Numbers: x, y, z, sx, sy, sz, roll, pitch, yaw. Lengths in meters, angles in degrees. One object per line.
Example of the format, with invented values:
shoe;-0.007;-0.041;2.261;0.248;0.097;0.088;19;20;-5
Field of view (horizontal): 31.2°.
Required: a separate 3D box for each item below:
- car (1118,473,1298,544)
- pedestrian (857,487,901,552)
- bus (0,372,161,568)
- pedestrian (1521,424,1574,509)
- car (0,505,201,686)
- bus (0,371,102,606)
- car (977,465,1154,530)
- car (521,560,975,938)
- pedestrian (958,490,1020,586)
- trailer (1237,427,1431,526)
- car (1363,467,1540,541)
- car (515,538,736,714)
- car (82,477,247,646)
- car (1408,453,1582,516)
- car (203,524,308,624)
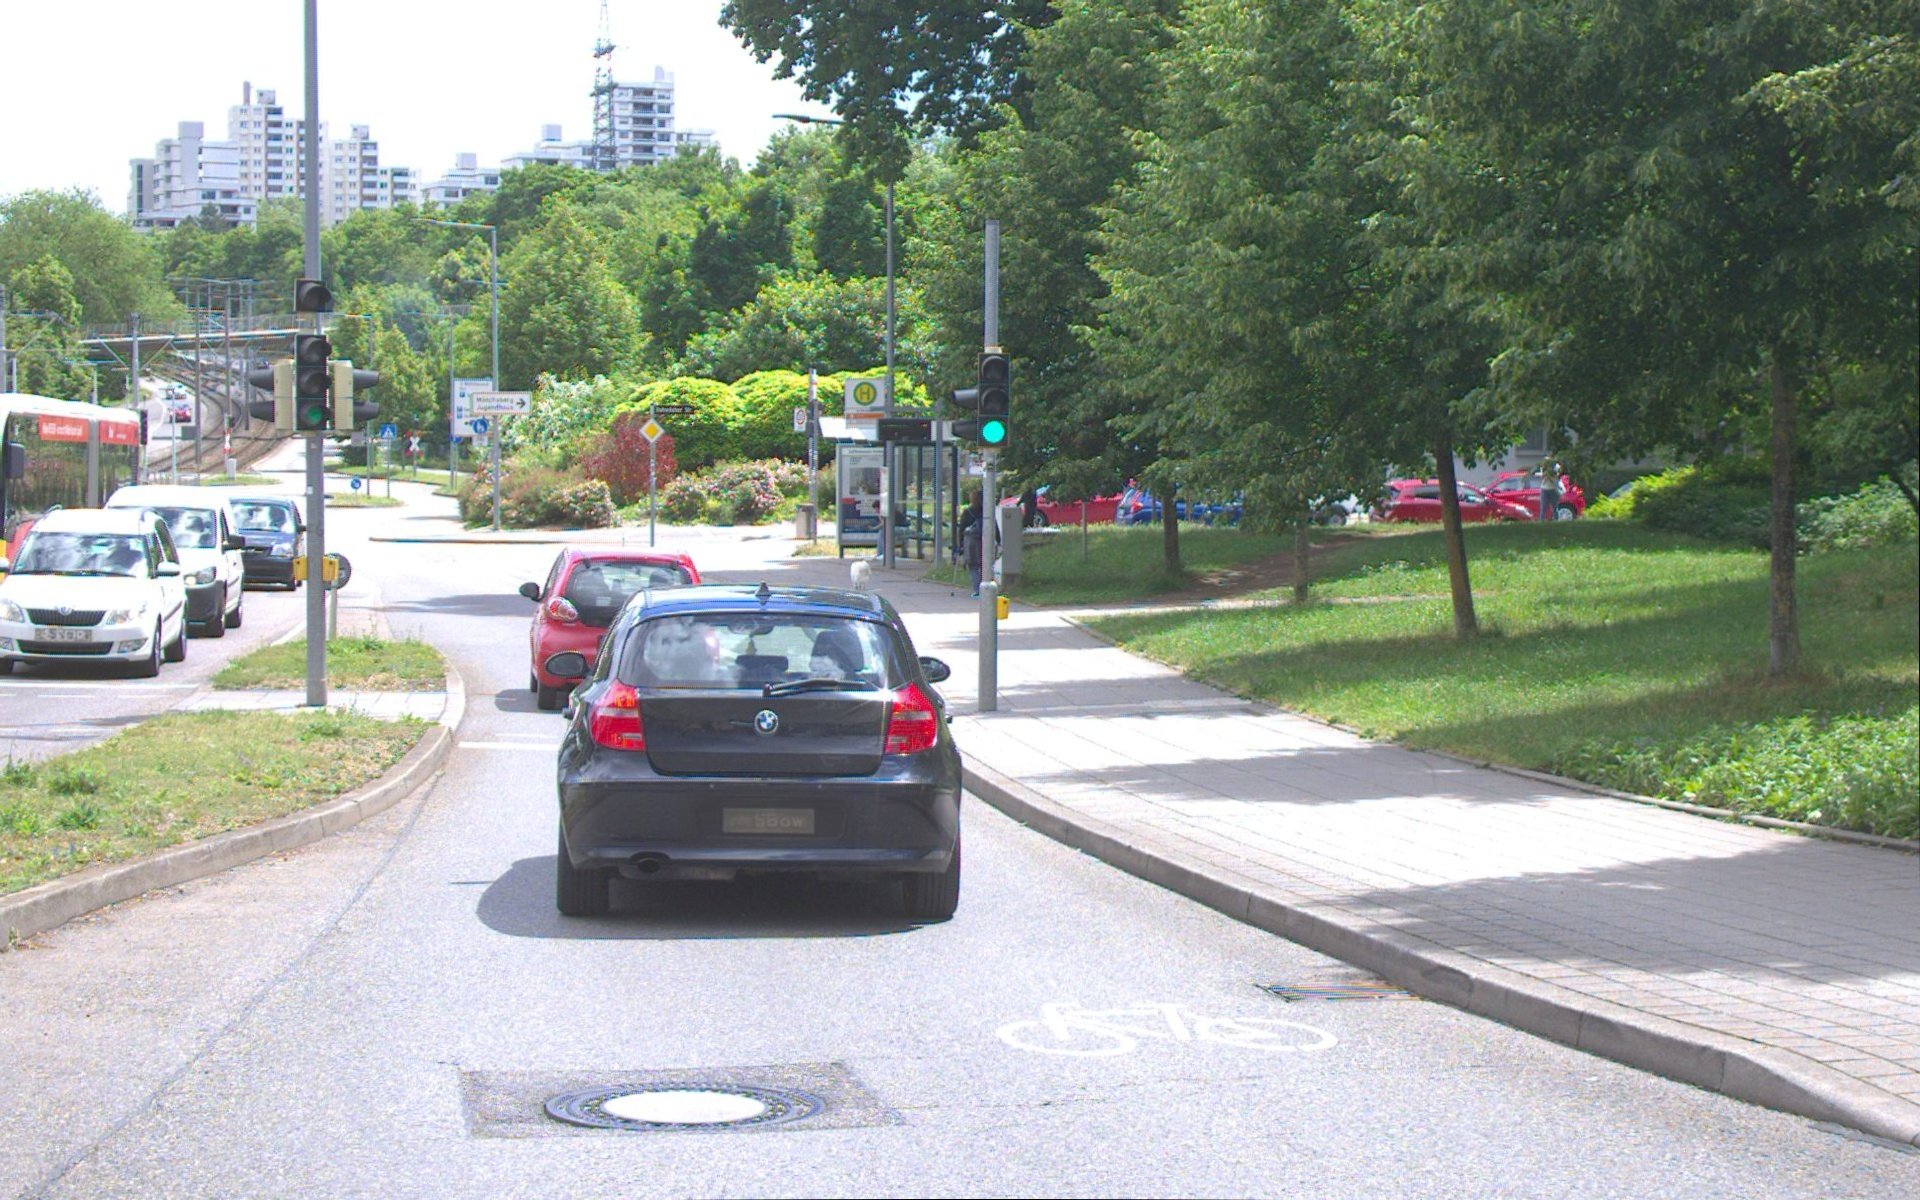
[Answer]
car;5.725;-2.134;79.603;3.792;1.451;1.897;-2;4;-10
pedestrian;-1.595;-1.590;67.459;0.827;1.254;0.686;0;3;-5
bus;-15.603;-2.357;59.253;2.725;3.059;8.967;0;4;-8
pedestrian;12.210;-2.764;71.452;0.986;1.754;0.858;0;2;2
car;-8.830;-0.096;35.122;1.699;1.643;4.080;1;2;-7
bus;-14.438;-1.716;50.005;2.725;3.098;9.707;0;3;-8
car;2.696;-2.642;88.216;4.155;1.556;2.001;-1;5;-13
car;-1.006;0.574;15.871;1.815;1.416;4.001;-1;2;-4
pedestrian;0.432;-0.930;51.226;0.819;1.420;0.830;0;2;-7
trailer;9.736;-3.226;89.626;4.536;2.478;2.222;0;4;-10
car;11.477;-2.249;80.392;3.685;1.638;1.831;0;4;-10
car;-3.125;0.192;31.598;1.765;1.427;3.480;-1;2;-10
car;-9.969;-0.543;43.332;1.761;1.656;4.509;-1;7;-10
car;14.049;-3.051;90.335;4.079;1.497;2.001;-1;4;-10
car;-12.002;-0.470;58.696;1.529;1.545;3.734;2;2;-9
